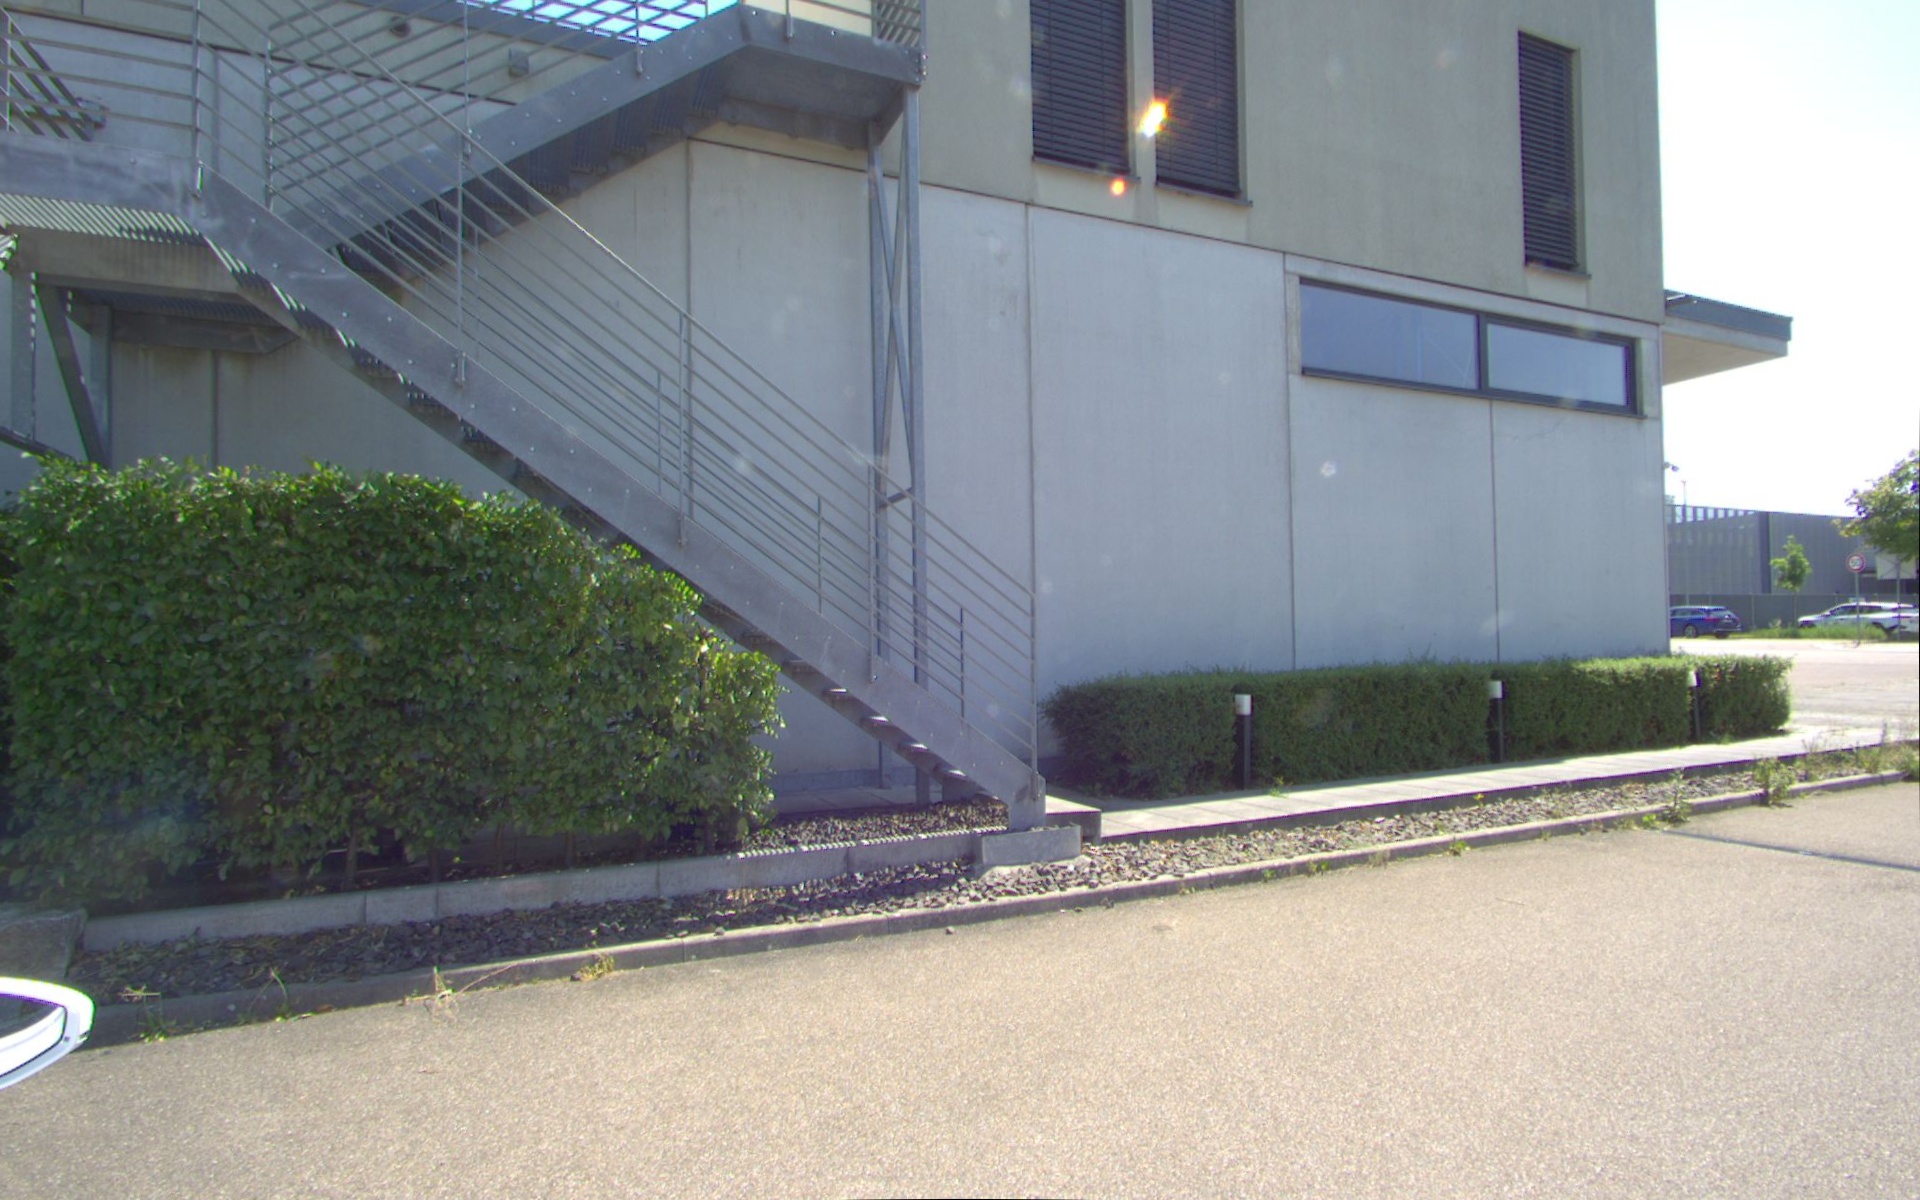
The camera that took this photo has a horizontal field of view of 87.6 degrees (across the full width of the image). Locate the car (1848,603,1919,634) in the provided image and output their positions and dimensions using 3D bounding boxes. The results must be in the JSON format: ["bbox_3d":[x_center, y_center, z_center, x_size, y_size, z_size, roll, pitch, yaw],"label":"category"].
[{"bbox_3d":[45.088,0.908,47.637,1.717,1.433,4.064,1,-2,-11],"label":"car"}]

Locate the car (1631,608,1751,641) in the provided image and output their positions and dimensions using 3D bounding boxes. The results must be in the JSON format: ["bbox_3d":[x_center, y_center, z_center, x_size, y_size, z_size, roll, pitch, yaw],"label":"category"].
[{"bbox_3d":[32.982,1.125,45.353,1.717,1.433,4.446,1,-2,-10],"label":"car"}]

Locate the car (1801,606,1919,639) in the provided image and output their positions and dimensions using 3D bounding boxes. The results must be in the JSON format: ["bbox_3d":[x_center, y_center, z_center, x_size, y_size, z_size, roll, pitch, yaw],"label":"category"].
[{"bbox_3d":[42.415,1.074,47.000,1.717,1.433,4.446,1,-2,-11],"label":"car"}]
